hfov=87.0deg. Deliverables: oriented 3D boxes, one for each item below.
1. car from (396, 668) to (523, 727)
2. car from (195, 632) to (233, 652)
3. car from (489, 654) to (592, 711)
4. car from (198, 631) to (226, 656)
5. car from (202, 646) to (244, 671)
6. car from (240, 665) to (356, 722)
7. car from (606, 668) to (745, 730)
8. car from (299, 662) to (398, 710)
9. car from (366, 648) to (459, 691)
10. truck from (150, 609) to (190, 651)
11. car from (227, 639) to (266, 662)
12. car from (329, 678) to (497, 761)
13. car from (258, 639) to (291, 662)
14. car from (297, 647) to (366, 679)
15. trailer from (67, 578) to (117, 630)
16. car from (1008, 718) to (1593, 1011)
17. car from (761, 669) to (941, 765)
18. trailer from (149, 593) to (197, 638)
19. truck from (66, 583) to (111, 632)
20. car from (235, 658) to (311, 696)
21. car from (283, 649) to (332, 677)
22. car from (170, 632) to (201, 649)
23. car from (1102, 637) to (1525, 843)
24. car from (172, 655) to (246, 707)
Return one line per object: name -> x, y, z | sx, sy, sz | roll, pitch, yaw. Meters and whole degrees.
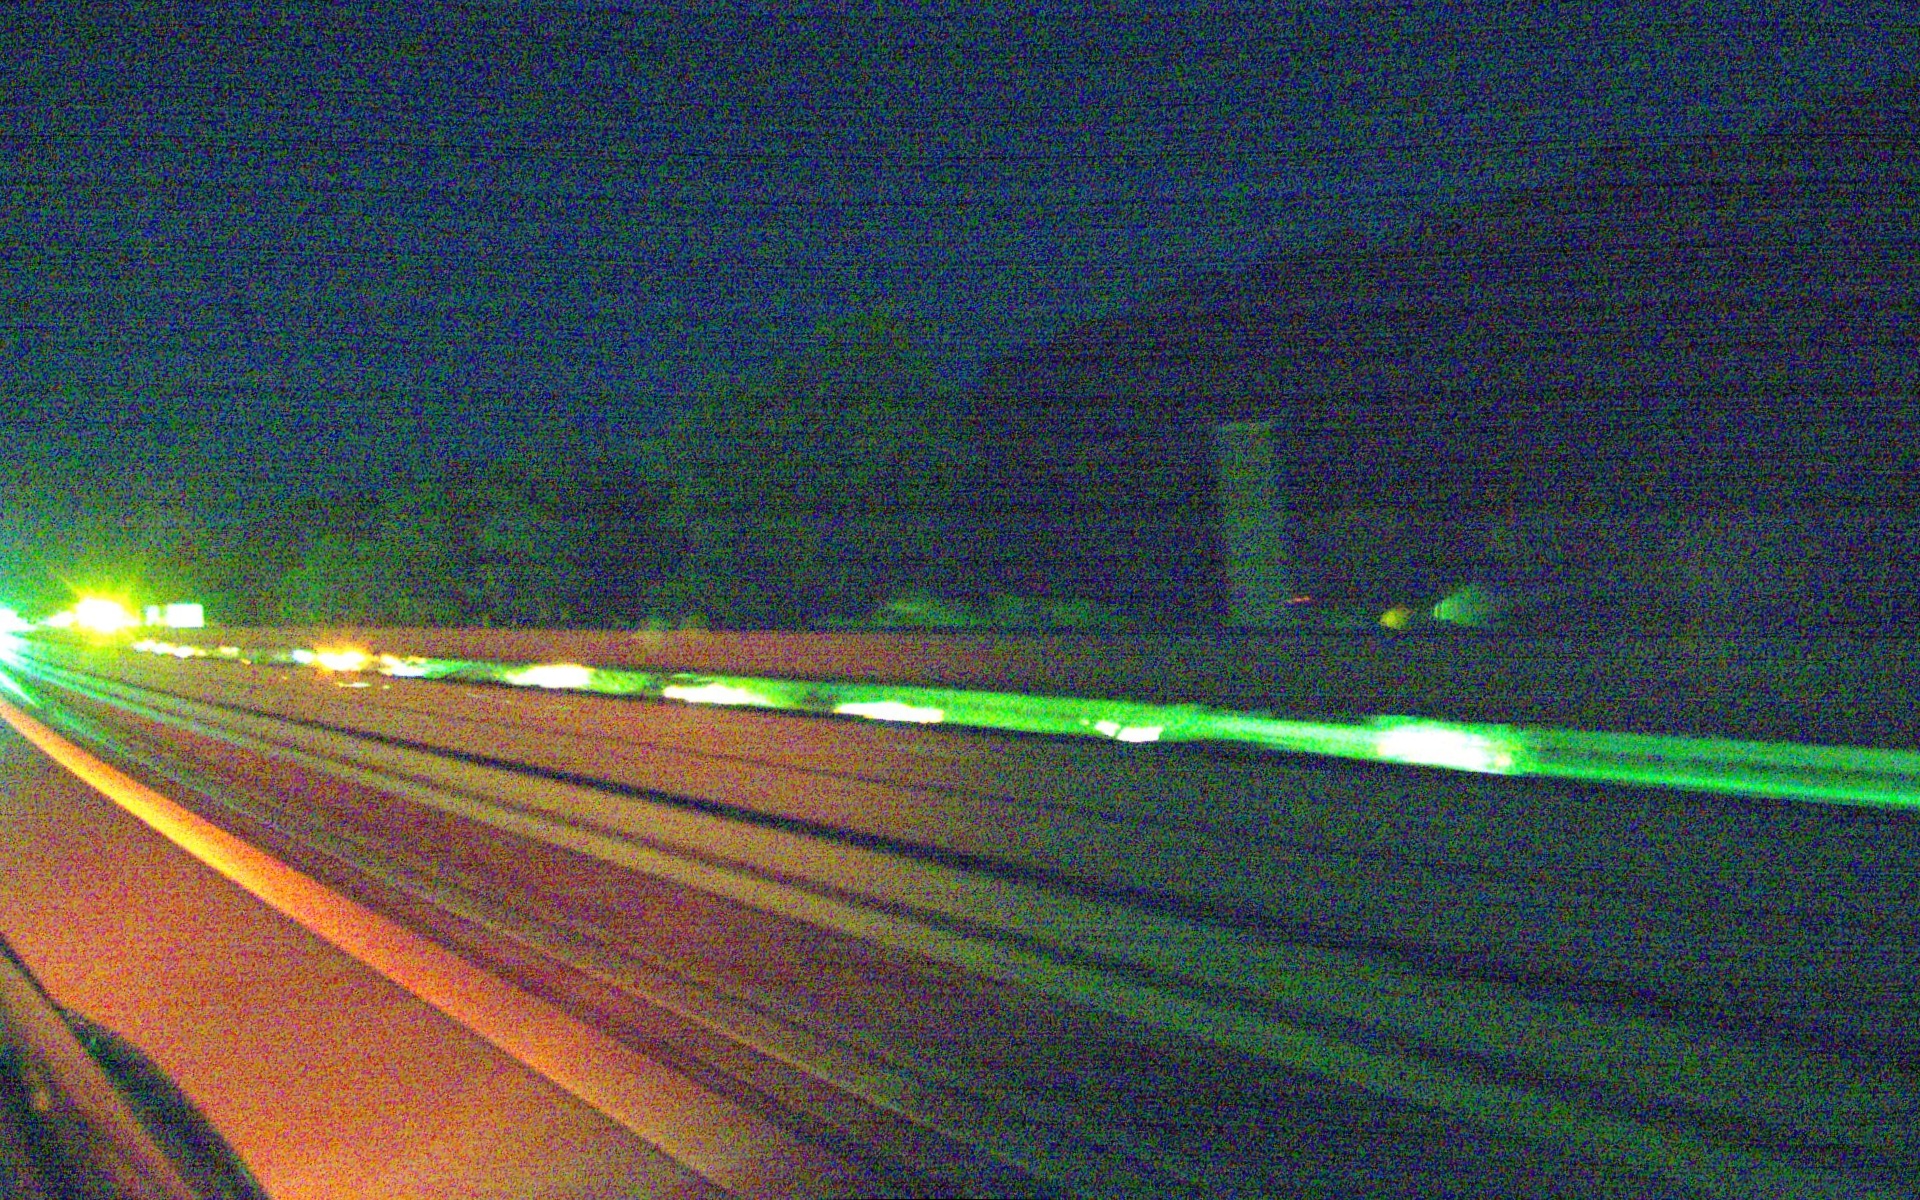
car -> -14.625, 2.773, 29.488 | 3.996, 1.469, 1.804 | -1, -3, 39
car -> -59.114, 3.287, 80.155 | 1.970, 1.502, 4.407 | 0, -1, -43
car -> -14.634, 2.820, 35.239 | 3.998, 1.729, 1.734 | -1, -1, 41
car -> -62.506, 3.610, 84.575 | 1.864, 2.029, 4.009 | 0, -1, -37
car -> -43.445, 3.409, 59.605 | 1.698, 1.313, 4.006 | 2, -2, -40
car -> -19.999, 2.758, 30.524 | 4.276, 1.480, 1.798 | -2, -2, 40
car -> -7.894, 2.670, 27.908 | 3.998, 1.469, 1.804 | -1, -3, 41
car -> -22.630, 3.113, 37.393 | 4.711, 1.464, 1.882 | -1, -1, 42
car -> -23.948, 2.986, 44.173 | 4.920, 1.647, 2.052 | -1, -1, 42
truck -> -86.678, 3.196, 110.951 | 3.049, 4.348, 6.292 | -2, 1, -41
car -> -52.895, 3.707, 74.990 | 1.969, 1.560, 4.145 | 0, -1, -41
car -> -11.946, 2.511, 21.992 | 4.276, 1.480, 1.798 | -2, -3, 40
car -> -46.958, 3.442, 69.269 | 1.684, 1.387, 4.009 | 0, -1, -37
car -> -32.807, 3.236, 52.758 | 4.711, 1.464, 1.882 | -1, -1, 42
trailer -> -67.463, 0.323, 78.567 | 2.505, 3.741, 10.138 | -2, 1, -43
car -> 2.639, 1.907, 8.457 | 4.276, 1.480, 1.798 | -2, -2, 40
car -> -2.459, 2.464, 22.173 | 1.927, 1.729, 4.005 | 2, -2, -42
trailer -> -82.224, 1.542, 105.615 | 3.110, 4.348, 14.833 | -2, 1, -41
truck -> -71.991, 0.607, 83.583 | 2.572, 3.771, 6.764 | -2, 1, -42
car -> -31.787, 3.522, 46.781 | 4.711, 1.464, 1.882 | -1, -1, 42
car -> -37.974, 3.640, 58.865 | 1.677, 1.408, 4.005 | 9, -8, -41
car -> -73.608, 3.796, 96.146 | 1.970, 1.502, 4.407 | 0, -1, -43
car -> 5.088, 1.840, 15.295 | 5.695, 2.460, 2.005 | -1, -1, 43
car -> -29.945, 3.169, 40.323 | 4.002, 1.872, 1.713 | -1, -3, 45
